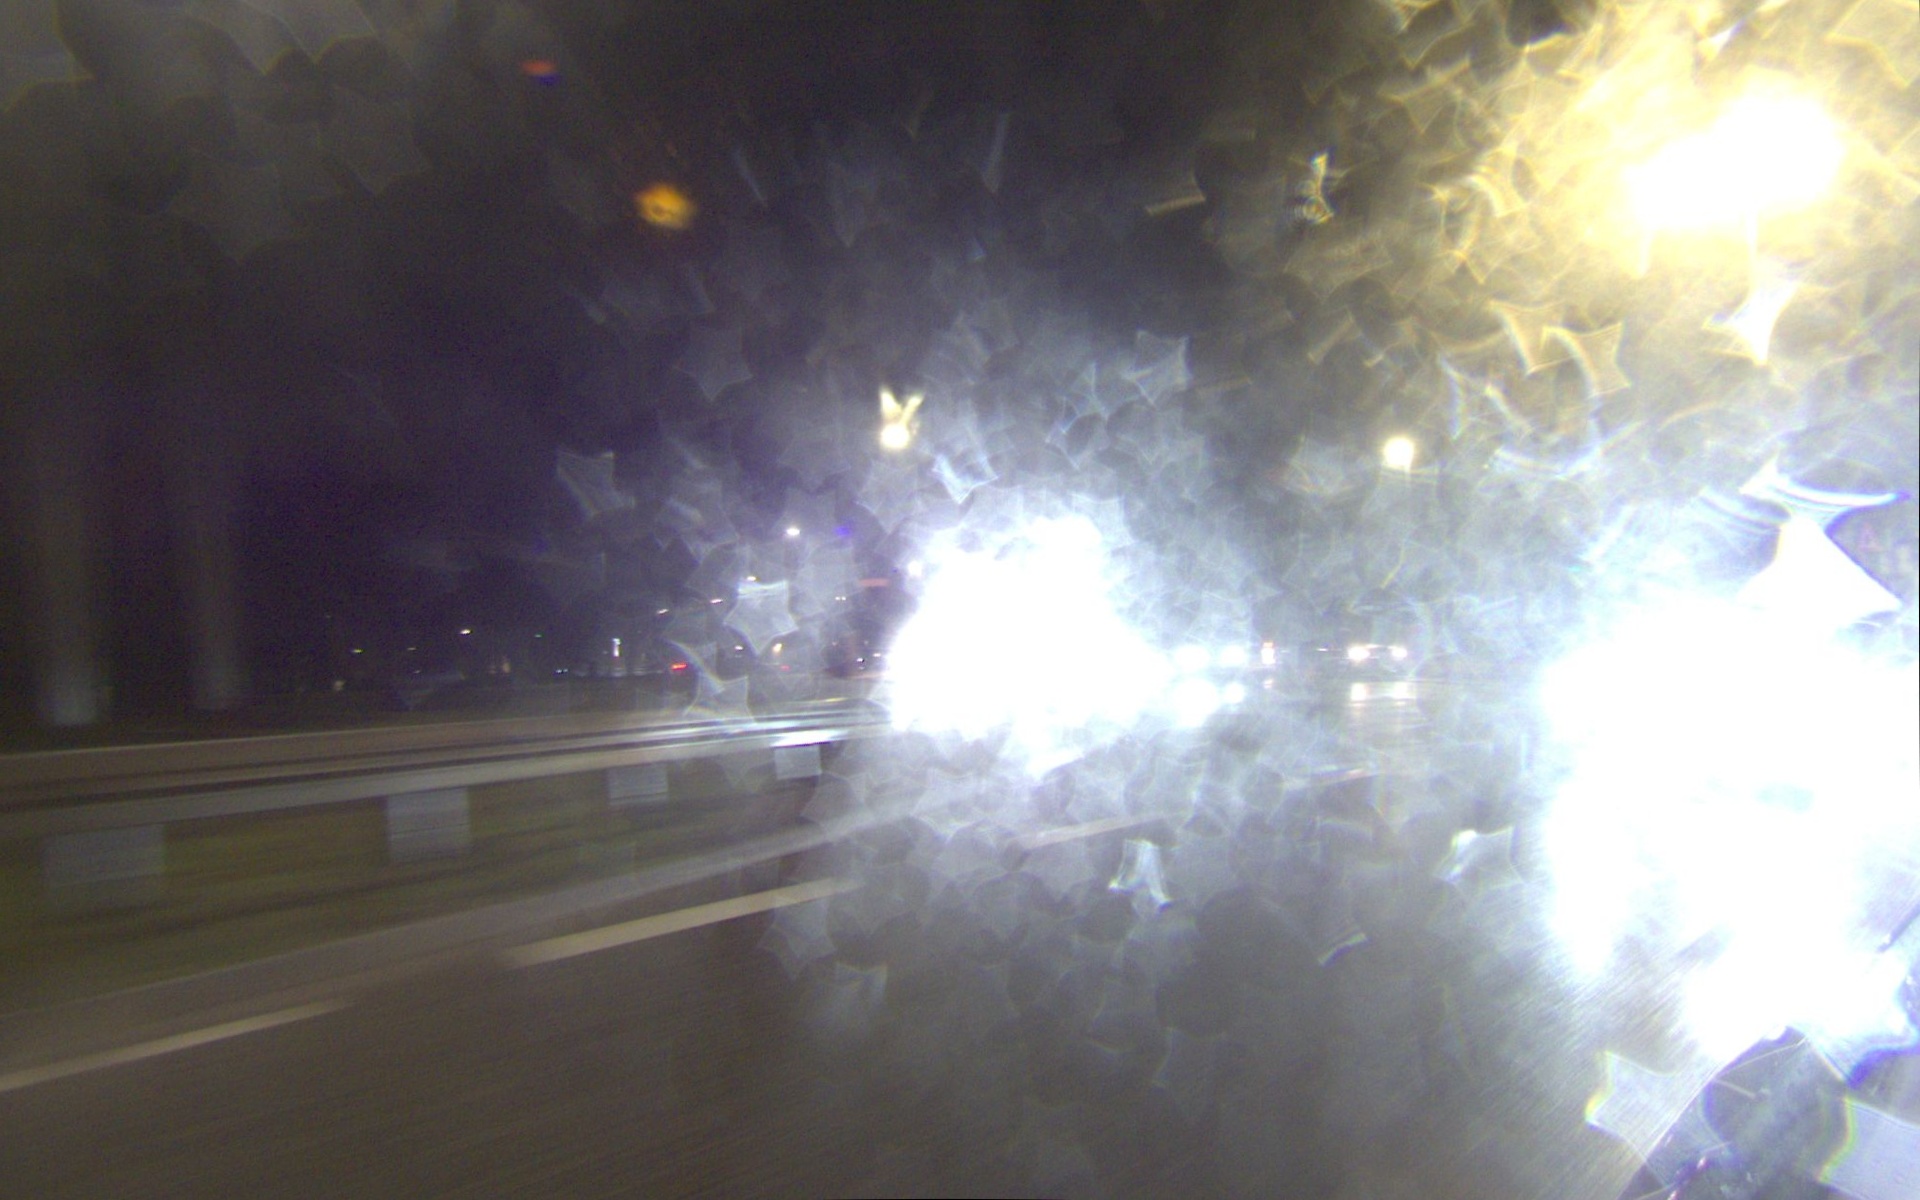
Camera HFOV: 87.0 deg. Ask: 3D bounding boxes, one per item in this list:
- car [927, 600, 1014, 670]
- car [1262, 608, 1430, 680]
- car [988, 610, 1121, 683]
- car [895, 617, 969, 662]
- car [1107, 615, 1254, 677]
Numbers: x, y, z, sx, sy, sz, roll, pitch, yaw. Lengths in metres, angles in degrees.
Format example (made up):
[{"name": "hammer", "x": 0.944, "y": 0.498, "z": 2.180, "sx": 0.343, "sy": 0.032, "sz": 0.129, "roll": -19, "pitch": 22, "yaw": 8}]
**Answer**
[{"name": "car", "x": 0.273, "y": 1.218, "z": 33.596, "sx": 1.728, "sy": 2.039, "sz": 4.005, "roll": -5, "pitch": -2, "yaw": -15}, {"name": "car", "x": 10.032, "y": 1.079, "z": 26.671, "sx": 1.958, "sy": 1.660, "sz": 4.127, "roll": 0, "pitch": 0, "yaw": -18}, {"name": "car", "x": 2.393, "y": 1.147, "z": 27.003, "sx": 1.958, "sy": 1.660, "sz": 4.792, "roll": 0, "pitch": 0, "yaw": -15}, {"name": "car", "x": -1.170, "y": 1.529, "z": 40.219, "sx": 1.958, "sy": 1.661, "sz": 4.354, "roll": -1, "pitch": -1, "yaw": -15}, {"name": "car", "x": 5.762, "y": 1.156, "z": 27.096, "sx": 1.958, "sy": 1.426, "sz": 4.555, "roll": 0, "pitch": 0, "yaw": -15}]
